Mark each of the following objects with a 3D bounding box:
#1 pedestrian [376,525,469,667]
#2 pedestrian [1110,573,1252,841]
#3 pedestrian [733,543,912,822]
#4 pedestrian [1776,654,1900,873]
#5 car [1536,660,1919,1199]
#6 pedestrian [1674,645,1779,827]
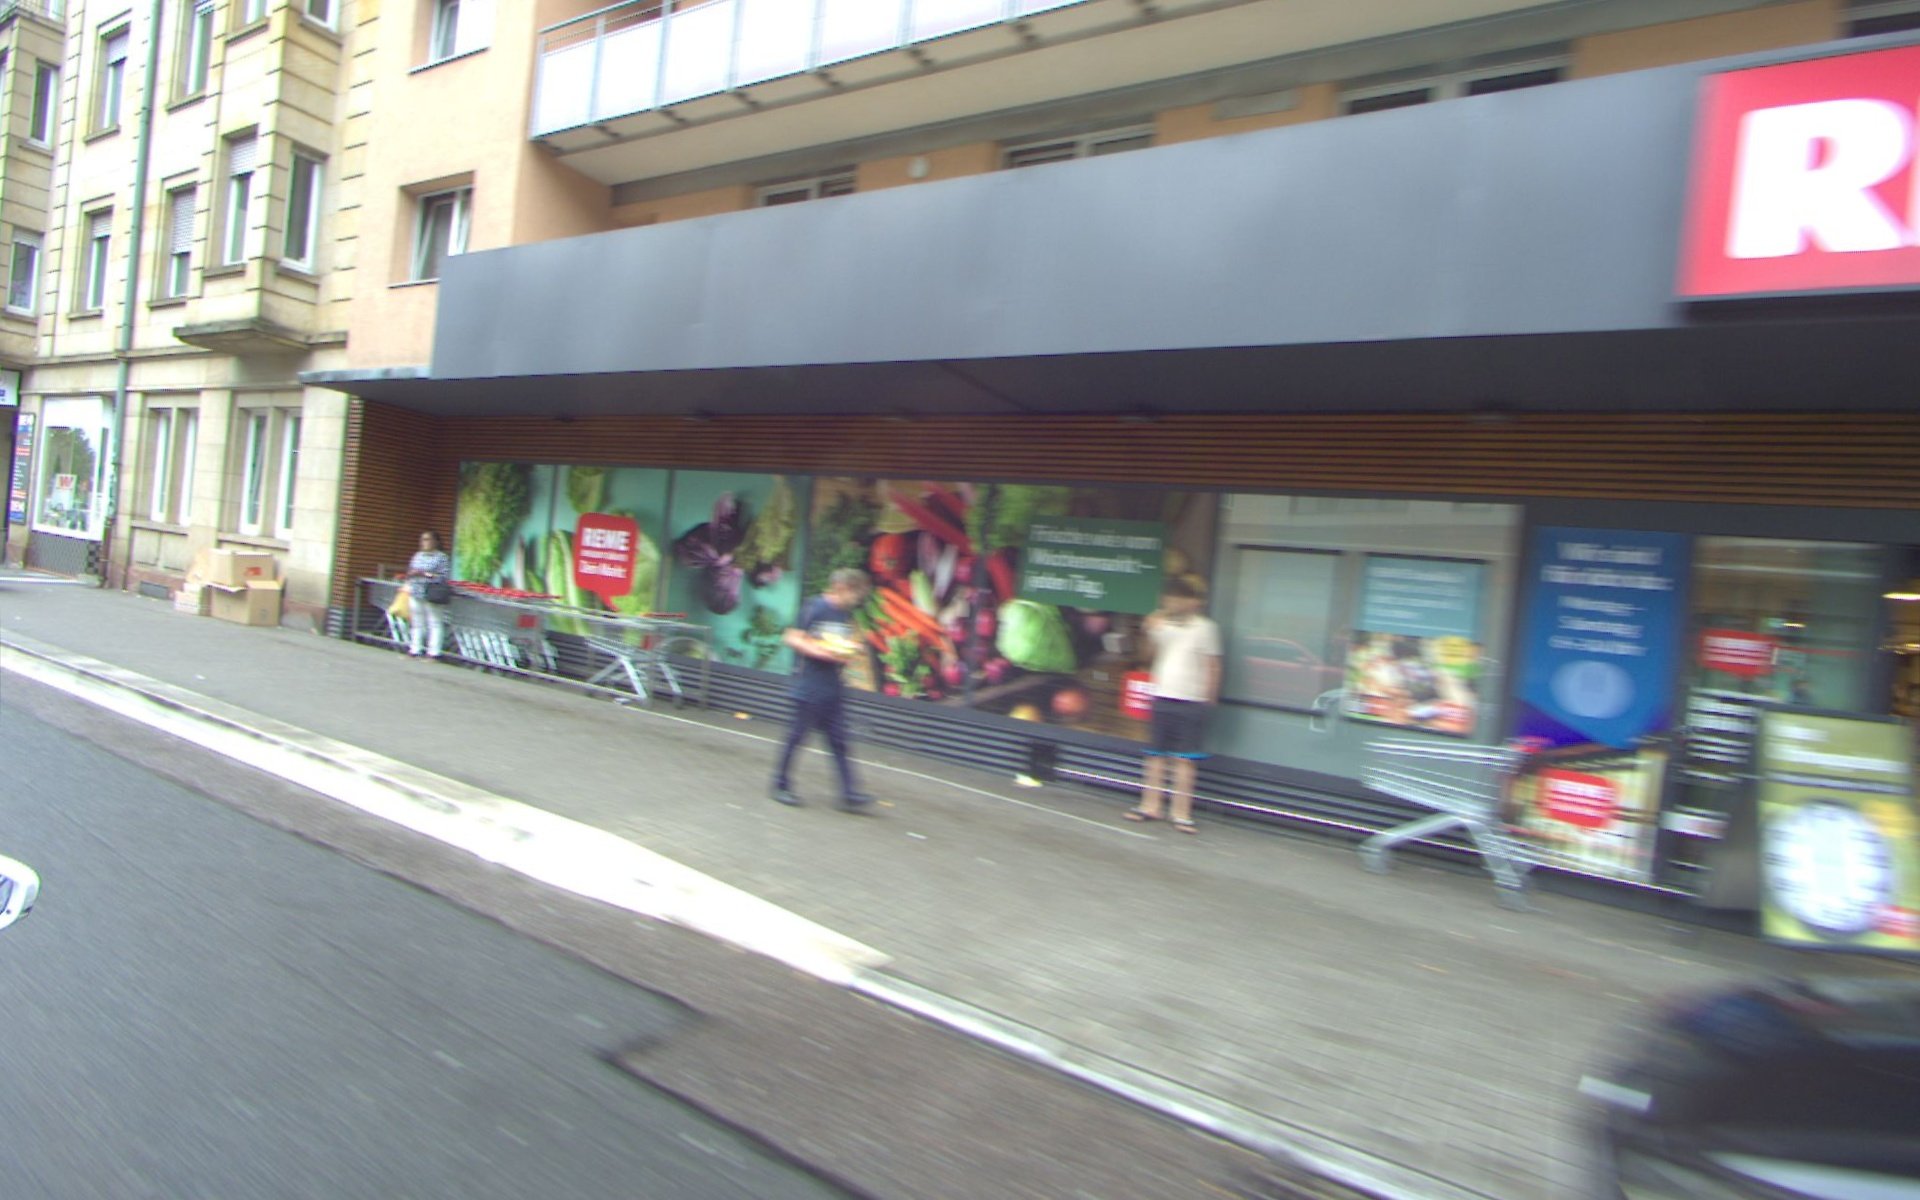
[{"bbox_3d":[-6.396,-0.040,11.983,0.615,1.592,0.563,6,0,15],"label":"pedestrian"},{"bbox_3d":[1.686,0.785,7.655,0.716,1.881,0.596,6,0,35],"label":"pedestrian"},{"bbox_3d":[-0.911,0.524,6.678,0.736,1.672,0.626,9,2,34],"label":"pedestrian"},{"bbox_3d":[8.643,1.574,9.930,0.629,2.008,0.573,6,1,28],"label":"pedestrian"},{"bbox_3d":[3.113,1.163,1.387,3.916,1.565,1.733,7,-2,32],"label":"car"},{"bbox_3d":[8.118,1.419,10.682,0.612,1.800,0.495,6,0,23],"label":"pedestrian"}]
